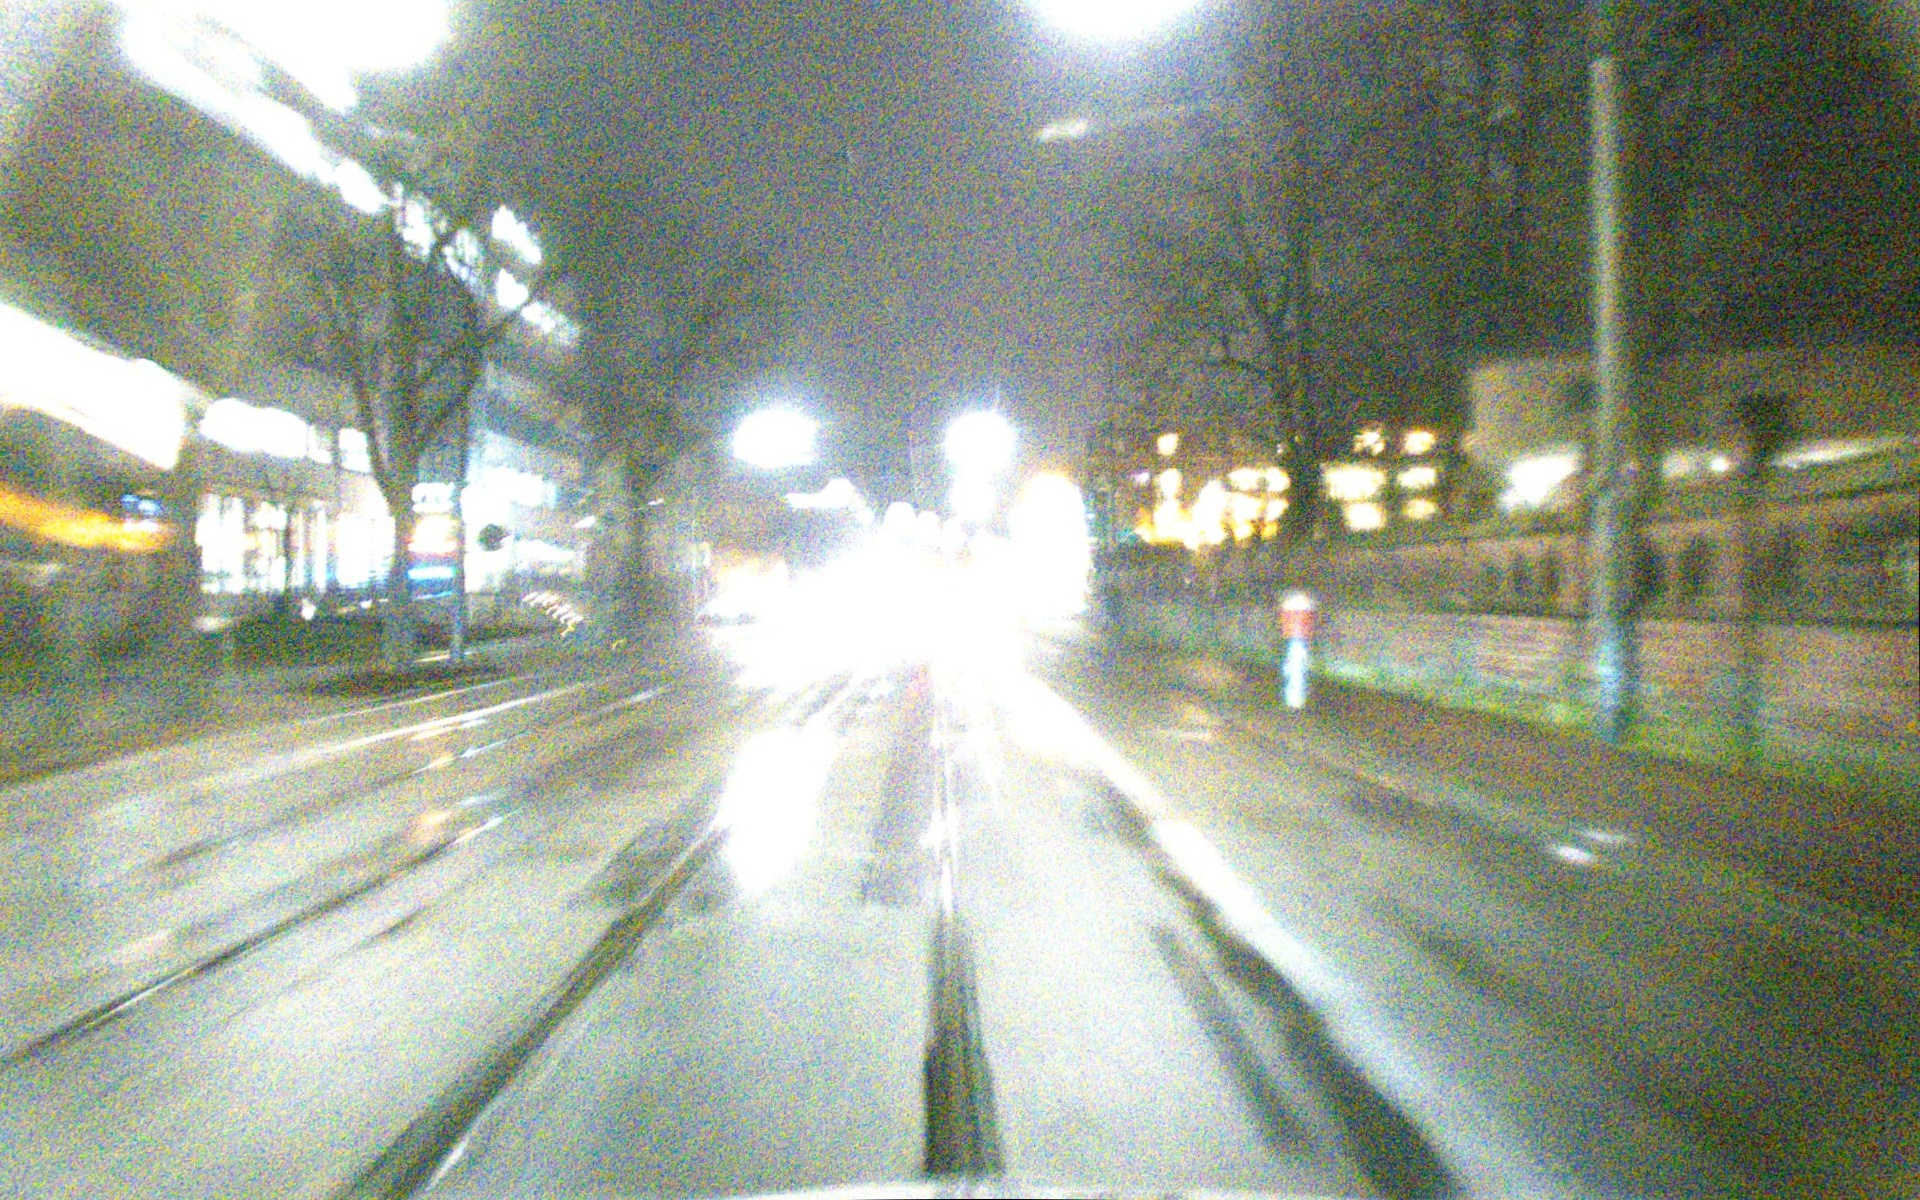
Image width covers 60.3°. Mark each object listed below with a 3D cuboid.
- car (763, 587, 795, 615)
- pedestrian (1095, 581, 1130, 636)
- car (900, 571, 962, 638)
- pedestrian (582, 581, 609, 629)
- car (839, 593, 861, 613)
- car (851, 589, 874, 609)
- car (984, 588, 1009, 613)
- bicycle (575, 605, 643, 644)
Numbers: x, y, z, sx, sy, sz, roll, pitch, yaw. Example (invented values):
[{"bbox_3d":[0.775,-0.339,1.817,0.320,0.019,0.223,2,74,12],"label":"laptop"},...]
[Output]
[{"bbox_3d":[-13.646,0.062,124.843,1.953,2.049,4.000,0,0,0],"label":"car"},{"bbox_3d":[4.881,0.272,52.960,0.921,1.693,0.993,-2,0,-5],"label":"pedestrian"},{"bbox_3d":[-1.116,0.161,61.826,2.199,2.402,4.392,0,0,-2],"label":"car"},{"bbox_3d":[-13.279,0.178,60.271,0.770,1.716,0.882,0,0,-1],"label":"pedestrian"},{"bbox_3d":[-9.841,0.253,147.569,1.954,1.754,4.073,0,0,-4],"label":"car"},{"bbox_3d":[-10.016,-0.105,169.591,2.274,1.966,4.959,0,0,-4],"label":"car"},{"bbox_3d":[3.079,0.072,139.784,1.953,2.049,3.999,0,0,-1],"label":"car"},{"bbox_3d":[-10.029,0.687,47.270,1.816,1.096,0.627,0,0,-1],"label":"bicycle"}]
